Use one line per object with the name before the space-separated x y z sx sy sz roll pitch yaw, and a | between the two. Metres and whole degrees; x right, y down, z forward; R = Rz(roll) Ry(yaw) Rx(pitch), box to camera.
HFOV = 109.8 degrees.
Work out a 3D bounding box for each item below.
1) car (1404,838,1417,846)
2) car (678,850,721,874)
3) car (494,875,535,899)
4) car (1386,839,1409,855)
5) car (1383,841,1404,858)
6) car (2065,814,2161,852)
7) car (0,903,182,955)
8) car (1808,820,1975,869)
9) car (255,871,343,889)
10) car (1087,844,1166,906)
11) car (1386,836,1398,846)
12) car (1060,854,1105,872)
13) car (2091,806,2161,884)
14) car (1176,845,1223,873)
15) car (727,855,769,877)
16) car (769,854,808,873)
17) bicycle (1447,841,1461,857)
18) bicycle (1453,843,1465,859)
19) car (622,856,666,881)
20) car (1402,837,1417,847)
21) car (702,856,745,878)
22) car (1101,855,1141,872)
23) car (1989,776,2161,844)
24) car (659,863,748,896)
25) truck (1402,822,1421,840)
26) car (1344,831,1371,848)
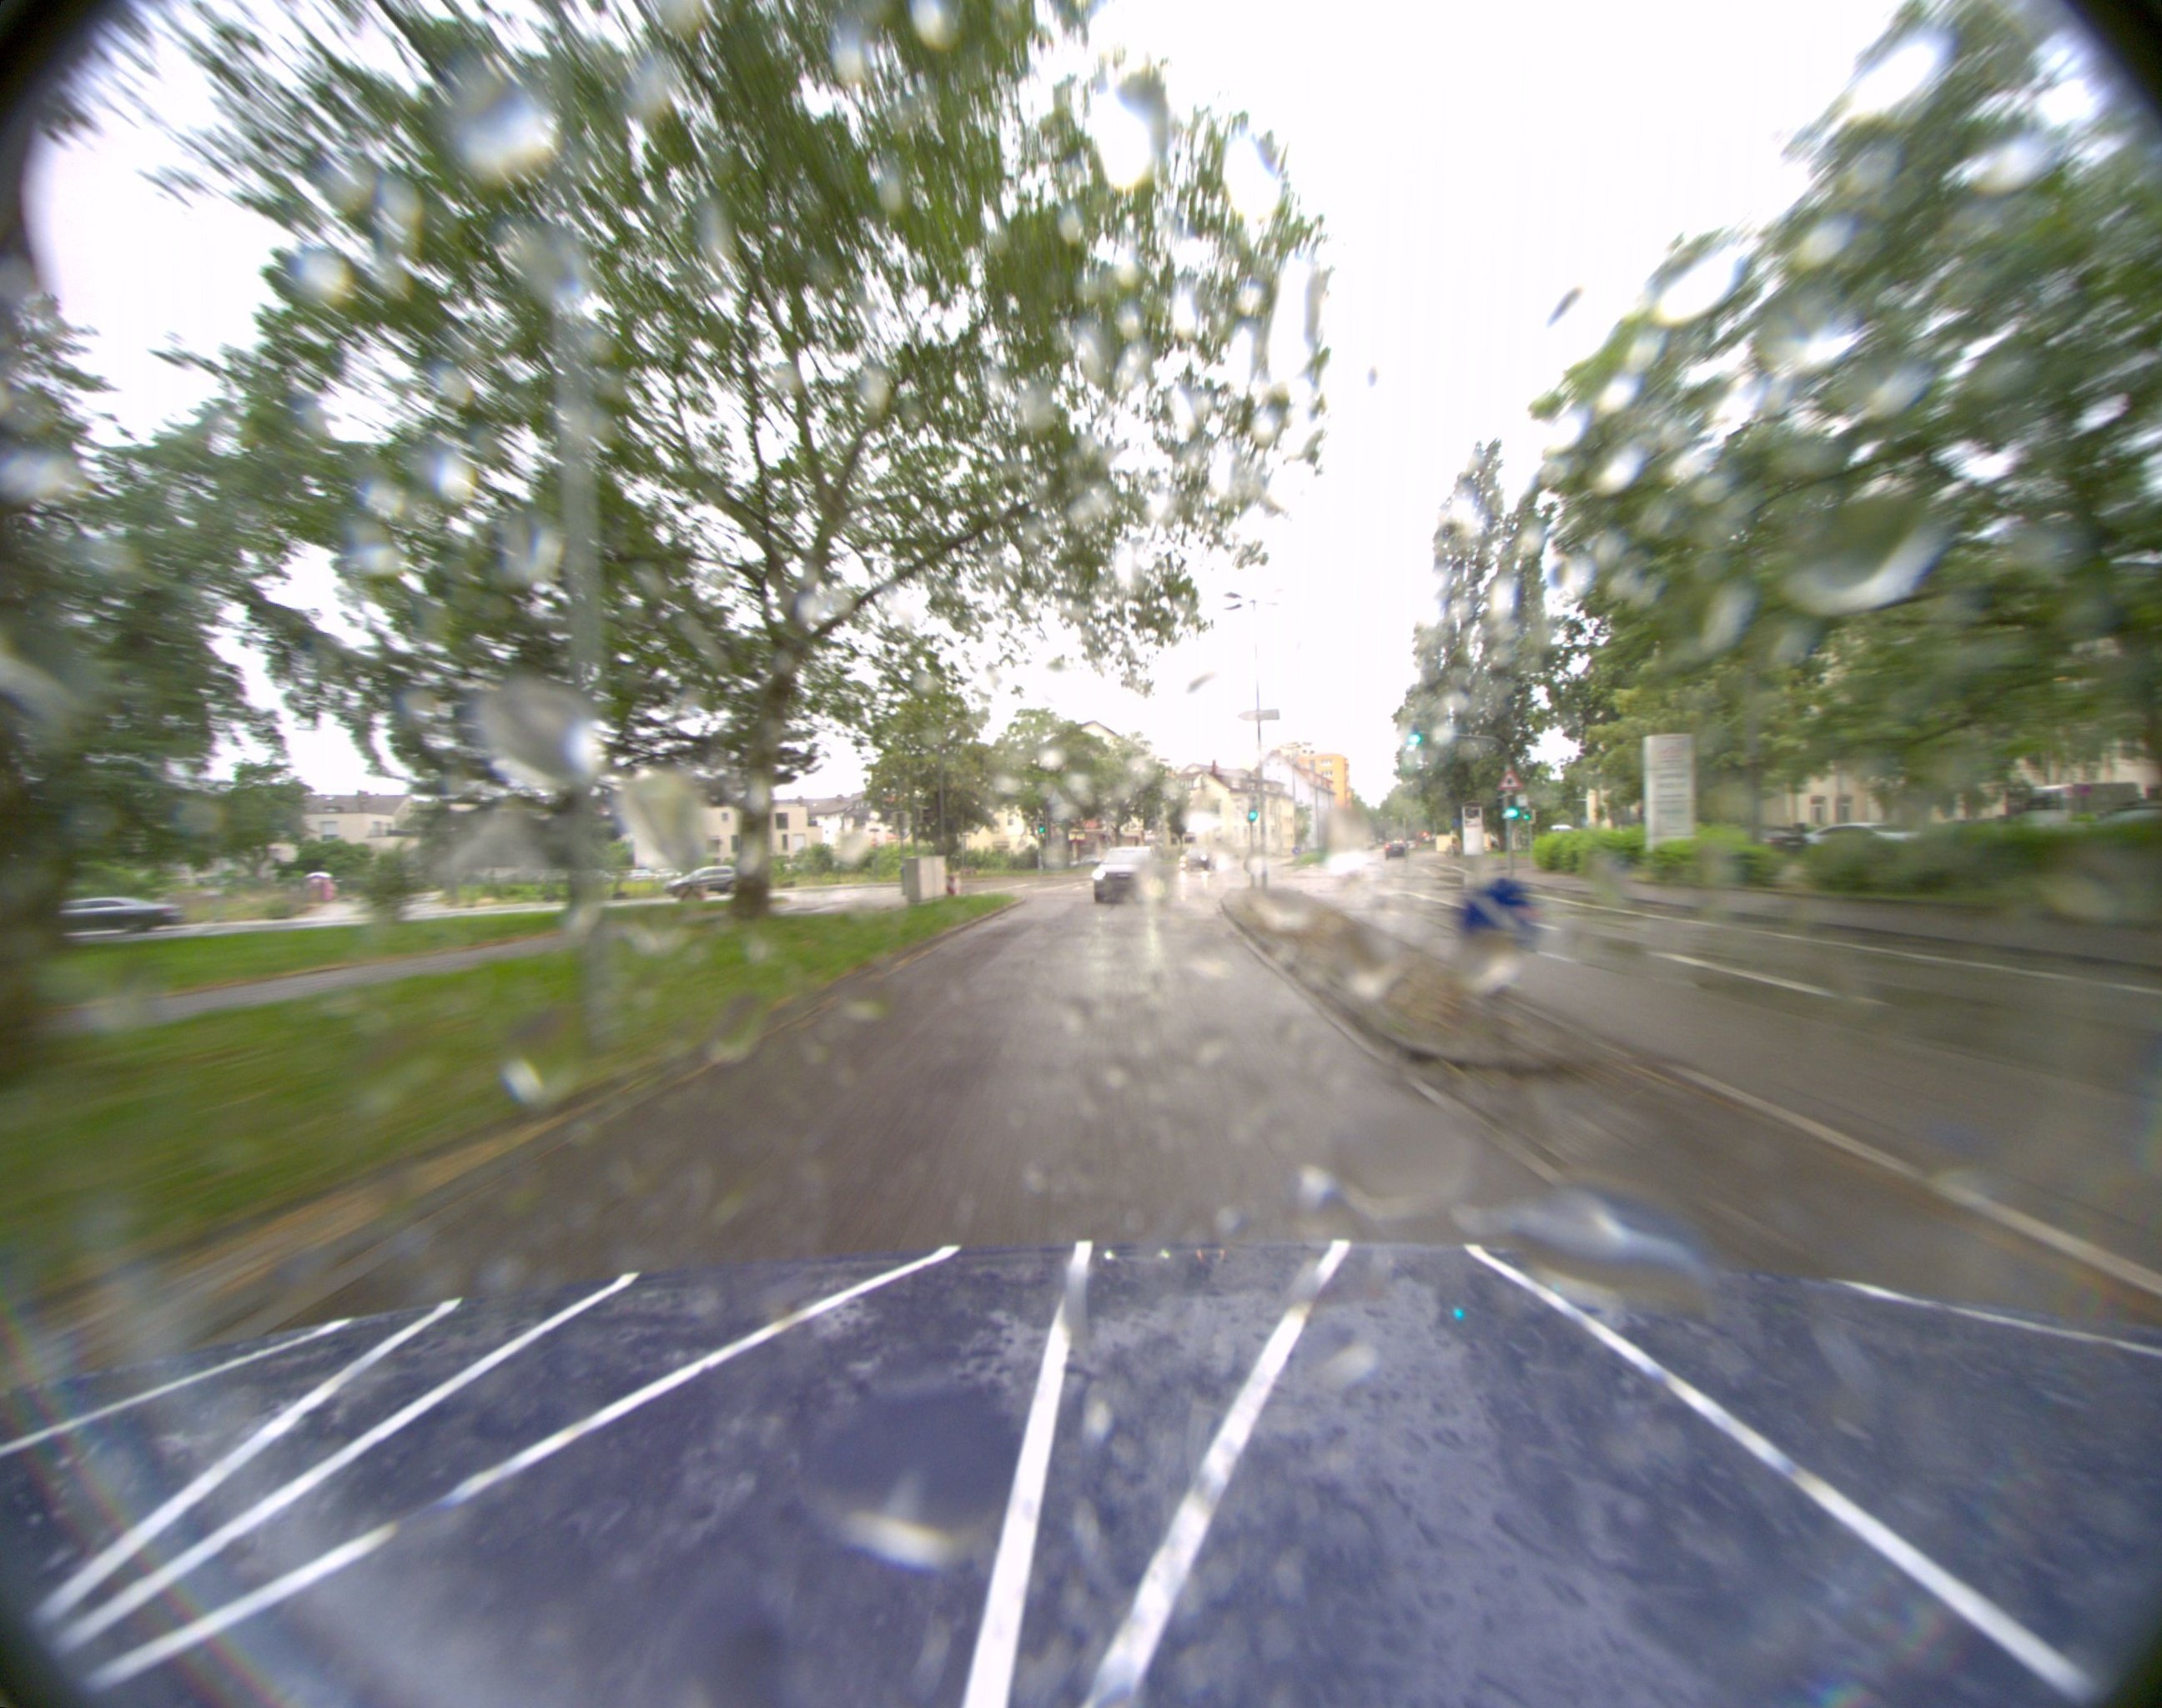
car | 59.575 -2.150 137.207 1.995 1.412 4.006 -3 0 24
car | -34.713 0.771 69.155 3.989 2.002 2.004 -3 1 40
car | -51.338 3.014 68.802 3.989 2.002 2.004 -3 1 40
car | 33.148 -0.740 79.457 1.995 1.558 4.006 -3 0 24
car | 28.512 -0.448 69.251 1.546 1.389 4.200 -4 0 24
car | 45.055 -0.896 31.693 1.999 1.491 4.530 -3 0 -5
car | -39.140 2.918 29.909 4.538 1.540 1.975 -3 0 -40
car | 30.653 -0.341 28.914 1.783 1.676 4.021 -2 0 -10
car | -60.733 2.019 59.129 4.406 1.129 1.765 -3 0 -32
car | 1.519 0.580 23.701 1.960 1.702 4.177 -3 0 9
car | 52.296 -2.213 127.722 1.807 1.501 4.200 -4 0 24
car | 0.175 0.774 68.184 1.699 1.425 4.165 -3 0 39
car | 23.344 -0.264 14.932 3.995 1.528 1.925 -3 0 8
car | 7.728 0.290 49.176 1.829 1.619 4.006 -3 0 26
car | -31.925 1.148 72.812 3.989 1.849 2.004 -3 1 40
car | -29.457 0.968 76.450 3.989 1.674 1.913 -3 1 40
bicycle | 27.917 -0.394 56.928 0.698 1.179 1.626 -3 0 19
bicycle | 26.800 -0.192 53.891 0.556 1.070 1.798 -3 0 19
car | -38.460 1.263 66.844 3.989 2.002 2.004 -3 1 40
car | 50.230 -1.820 116.009 1.995 1.412 4.006 -3 0 24
car | -33.491 1.199 71.113 3.989 1.849 2.004 -3 1 40
car | 3.831 0.907 73.011 1.635 1.425 4.184 -3 0 39
car | 52.885 -2.284 40.451 6.214 3.175 2.837 -3 1 -6
car | -22.491 1.491 45.328 4.313 1.645 1.855 -3 1 -43
truck | 86.409 -6.115 198.745 3.826 4.359 10.802 -3 0 26
car | 40.061 -2.115 110.028 2.190 2.242 4.893 -3 0 37
